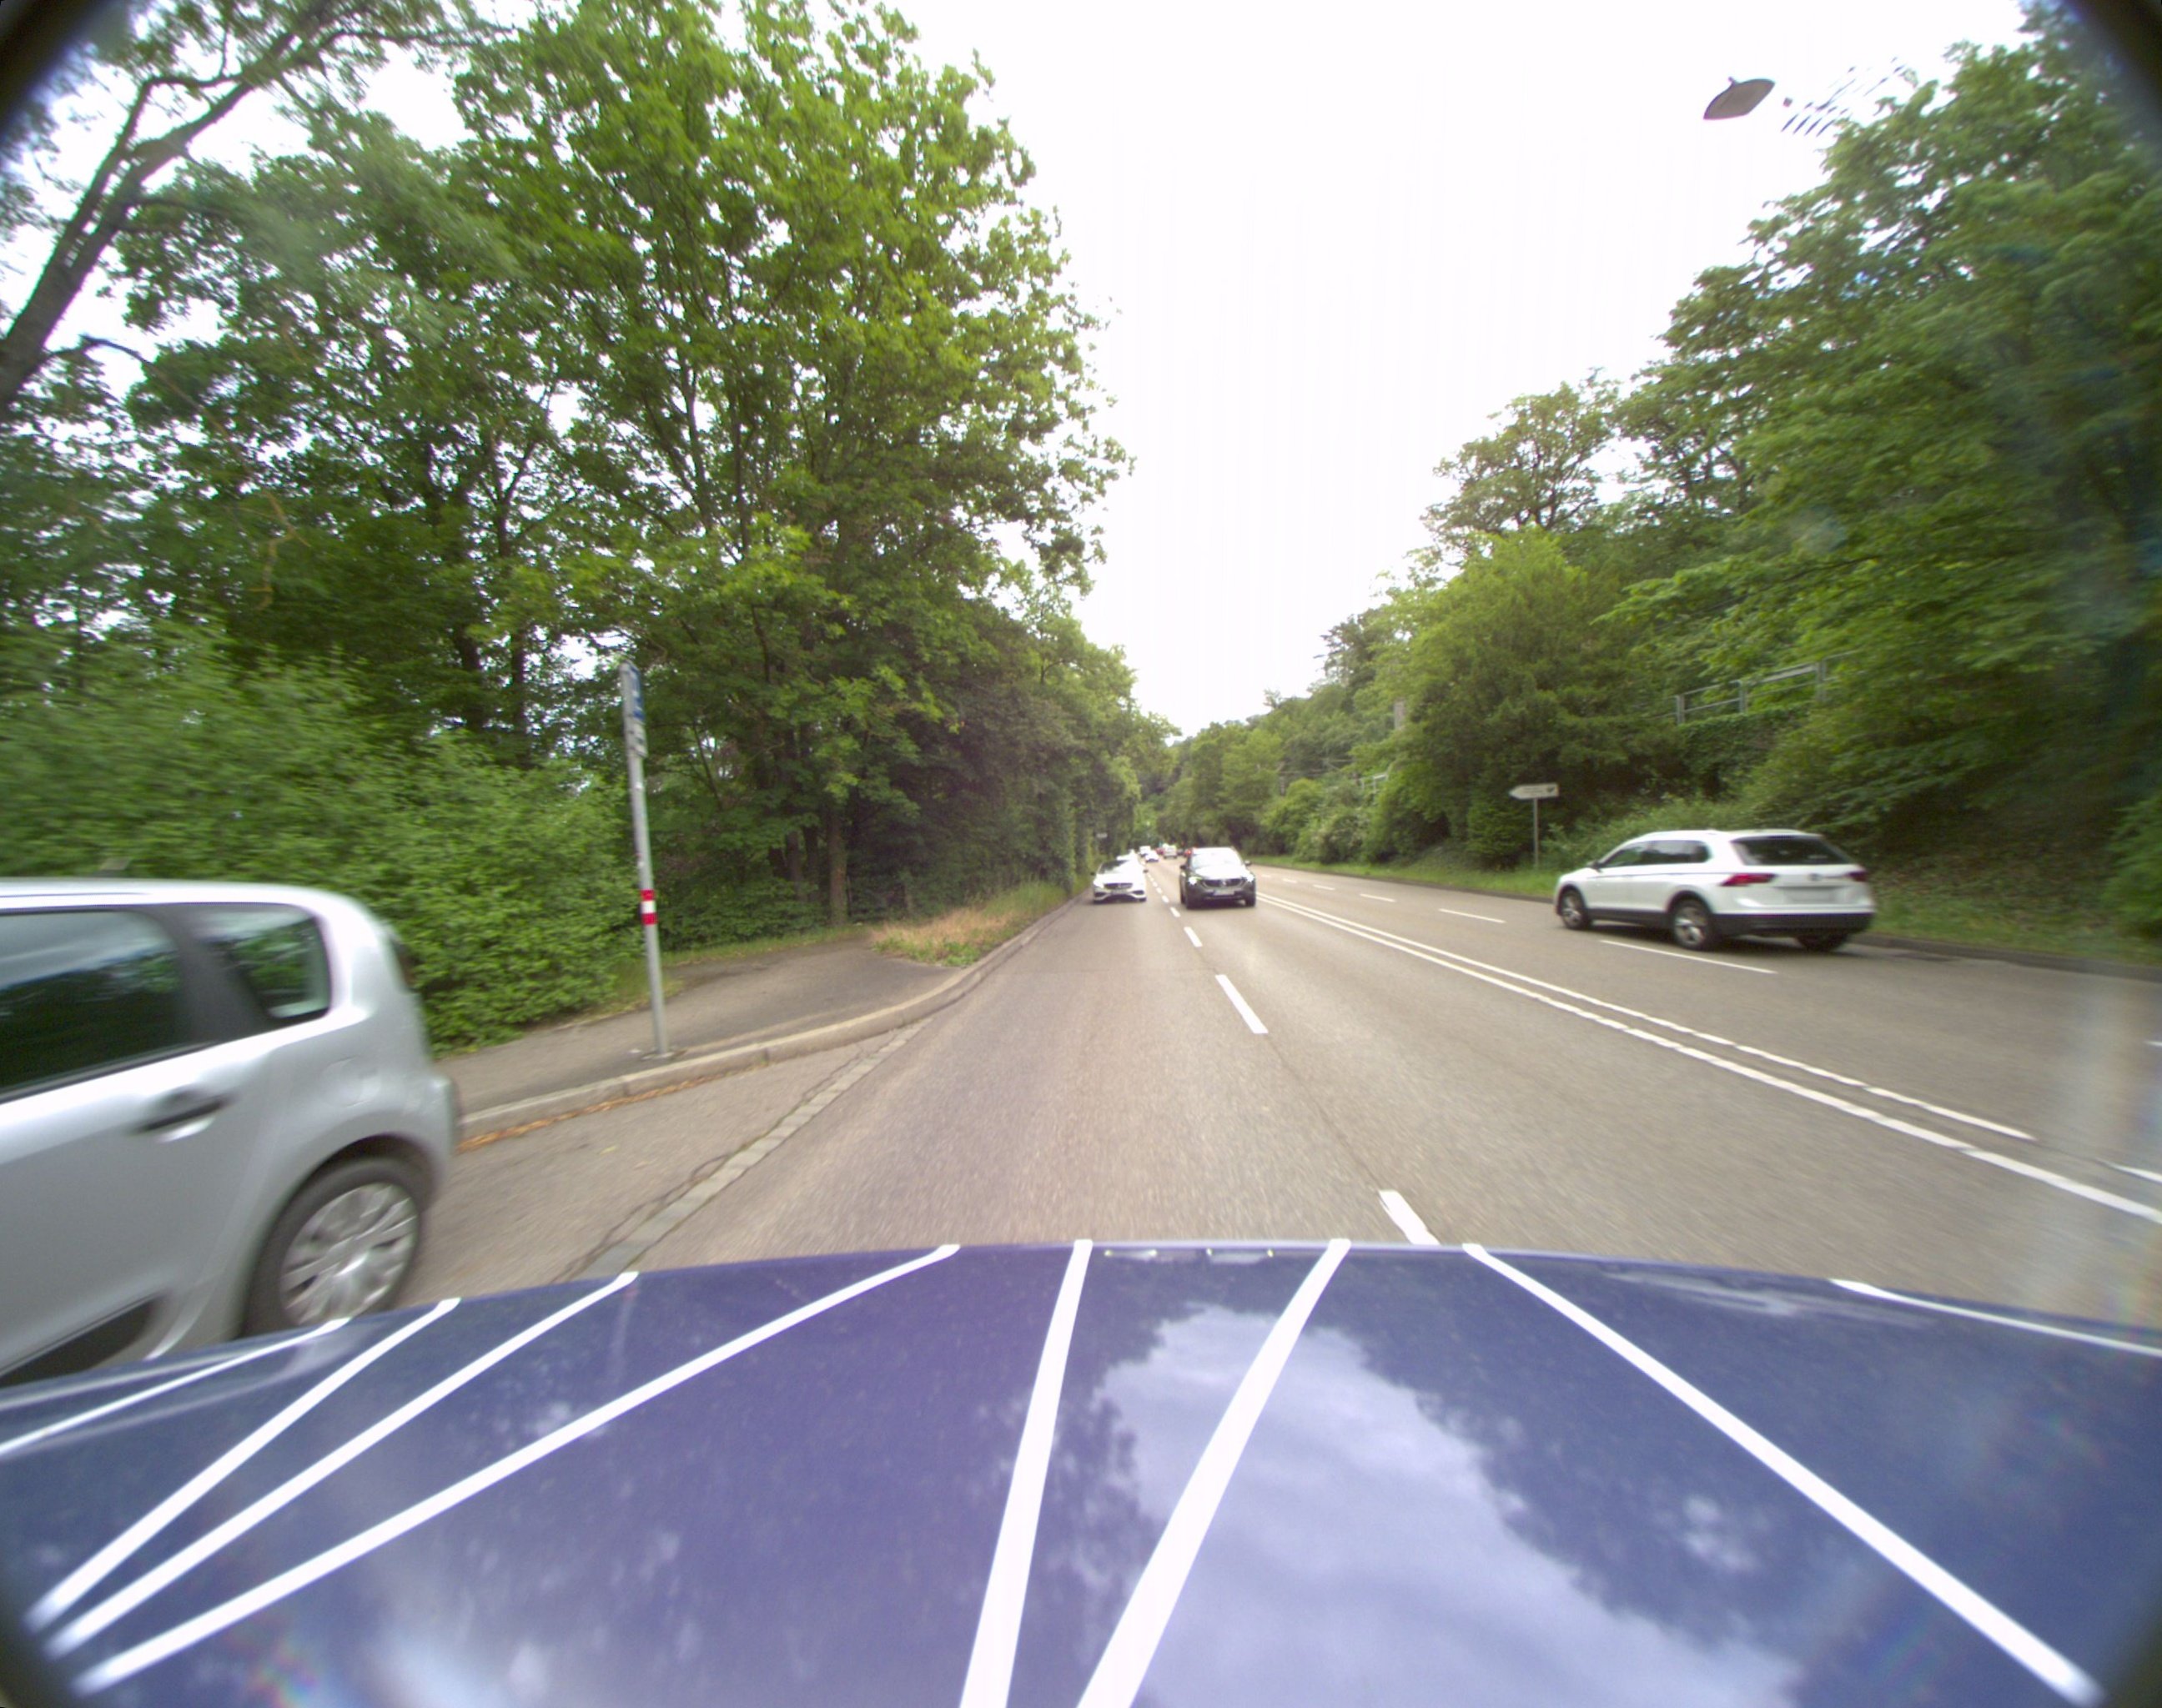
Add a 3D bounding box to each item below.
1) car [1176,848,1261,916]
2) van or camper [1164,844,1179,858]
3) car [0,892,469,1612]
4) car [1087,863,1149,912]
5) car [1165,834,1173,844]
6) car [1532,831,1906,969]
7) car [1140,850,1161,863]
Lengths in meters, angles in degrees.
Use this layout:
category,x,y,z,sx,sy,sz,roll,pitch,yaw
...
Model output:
category,x,y,z,sx,sy,sz,roll,pitch,yaw
car,3.803,0.709,21.653,1.871,1.653,4.193,-2,1,4
van or camper,13.645,-0.512,115.025,1.998,2.002,5.369,1,1,4
car,-3.345,0.969,0.929,1.807,1.516,4.000,-3,1,1
car,1.343,1.103,26.716,1.896,1.289,4.328,-5,1,4
car,23.215,-3.953,201.344,1.891,2.541,4.915,-2,1,5
car,9.083,0.539,11.464,1.861,1.685,4.435,0,1,-1
car,8.980,0.329,98.314,1.698,1.573,3.997,-6,1,-7
